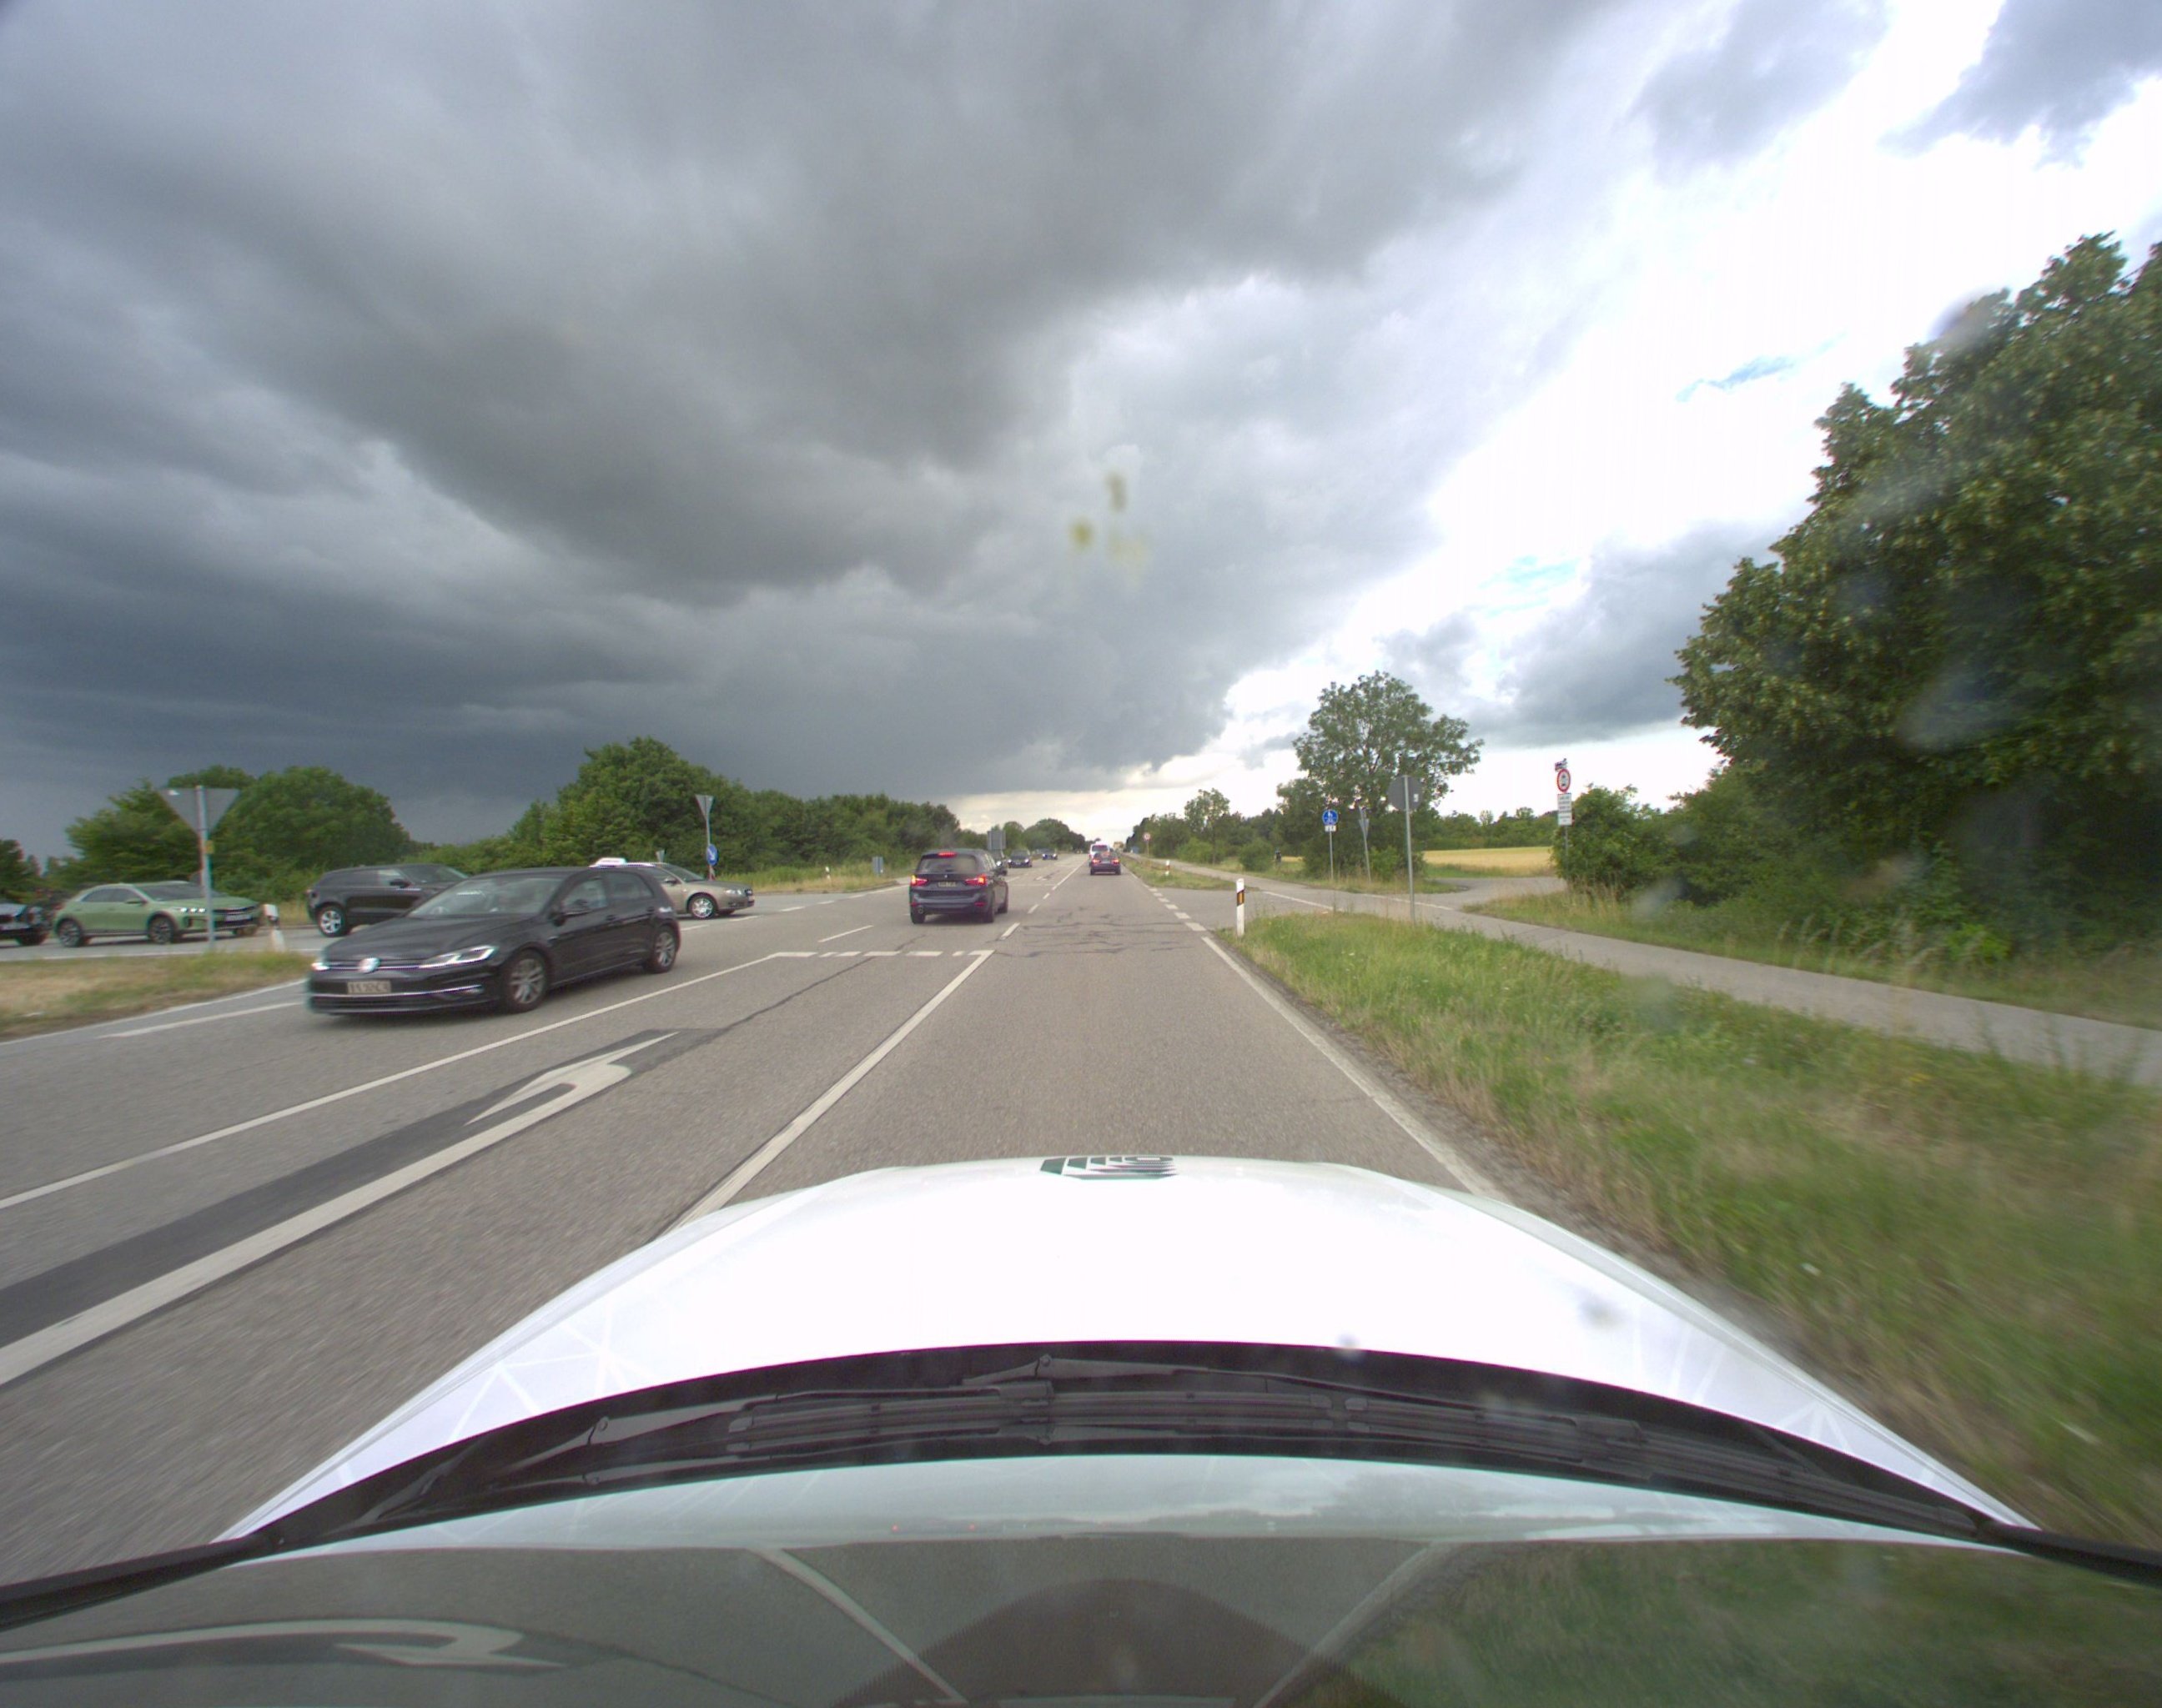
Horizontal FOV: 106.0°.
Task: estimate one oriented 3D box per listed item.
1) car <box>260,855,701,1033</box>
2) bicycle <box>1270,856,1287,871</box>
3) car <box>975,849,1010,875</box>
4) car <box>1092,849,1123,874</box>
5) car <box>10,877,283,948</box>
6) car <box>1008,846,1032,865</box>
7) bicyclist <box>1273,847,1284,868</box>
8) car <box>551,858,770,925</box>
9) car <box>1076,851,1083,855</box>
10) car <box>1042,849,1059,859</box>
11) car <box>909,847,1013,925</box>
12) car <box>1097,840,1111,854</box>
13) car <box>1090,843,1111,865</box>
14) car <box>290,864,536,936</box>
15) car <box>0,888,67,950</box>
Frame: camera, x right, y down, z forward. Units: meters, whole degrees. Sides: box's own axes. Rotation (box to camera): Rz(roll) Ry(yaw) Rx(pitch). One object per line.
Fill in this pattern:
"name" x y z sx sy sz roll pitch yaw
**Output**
"car" -6.281 0.791 9.315 1.673 1.521 4.398 0 0 2
"bicycle" 15.124 0.719 62.351 0.653 1.138 2.831 0 -1 1
"car" -5.293 0.444 49.086 1.655 1.483 3.169 -1 0 1
"car" 1.585 0.440 49.455 1.779 1.423 4.001 0 0 1
"car" -23.607 1.455 20.664 5.255 1.521 1.915 -2 0 7
"car" -5.184 0.130 69.720 1.736 1.530 4.199 0 1 1
"bicyclist" 15.112 0.293 62.283 0.653 1.581 0.744 0 -1 1
"car" -10.453 0.903 20.541 4.446 1.424 1.907 -2 0 -7
"car" -0.515 -0.301 243.201 1.855 1.376 4.001 1 -1 2
"car" -4.105 -0.045 109.944 2.157 1.285 4.238 0 1 1
"car" -2.678 0.654 19.107 1.696 1.611 4.483 0 0 1
"car" 4.138 -1.281 147.381 2.438 2.504 5.044 0 1 2
"car" 1.668 0.001 70.779 1.779 1.889 4.001 0 0 1
"car" -16.353 1.099 20.066 4.713 1.531 1.915 -2 0 7
"car" -29.645 1.759 21.198 4.598 1.517 1.915 -2 0 7
